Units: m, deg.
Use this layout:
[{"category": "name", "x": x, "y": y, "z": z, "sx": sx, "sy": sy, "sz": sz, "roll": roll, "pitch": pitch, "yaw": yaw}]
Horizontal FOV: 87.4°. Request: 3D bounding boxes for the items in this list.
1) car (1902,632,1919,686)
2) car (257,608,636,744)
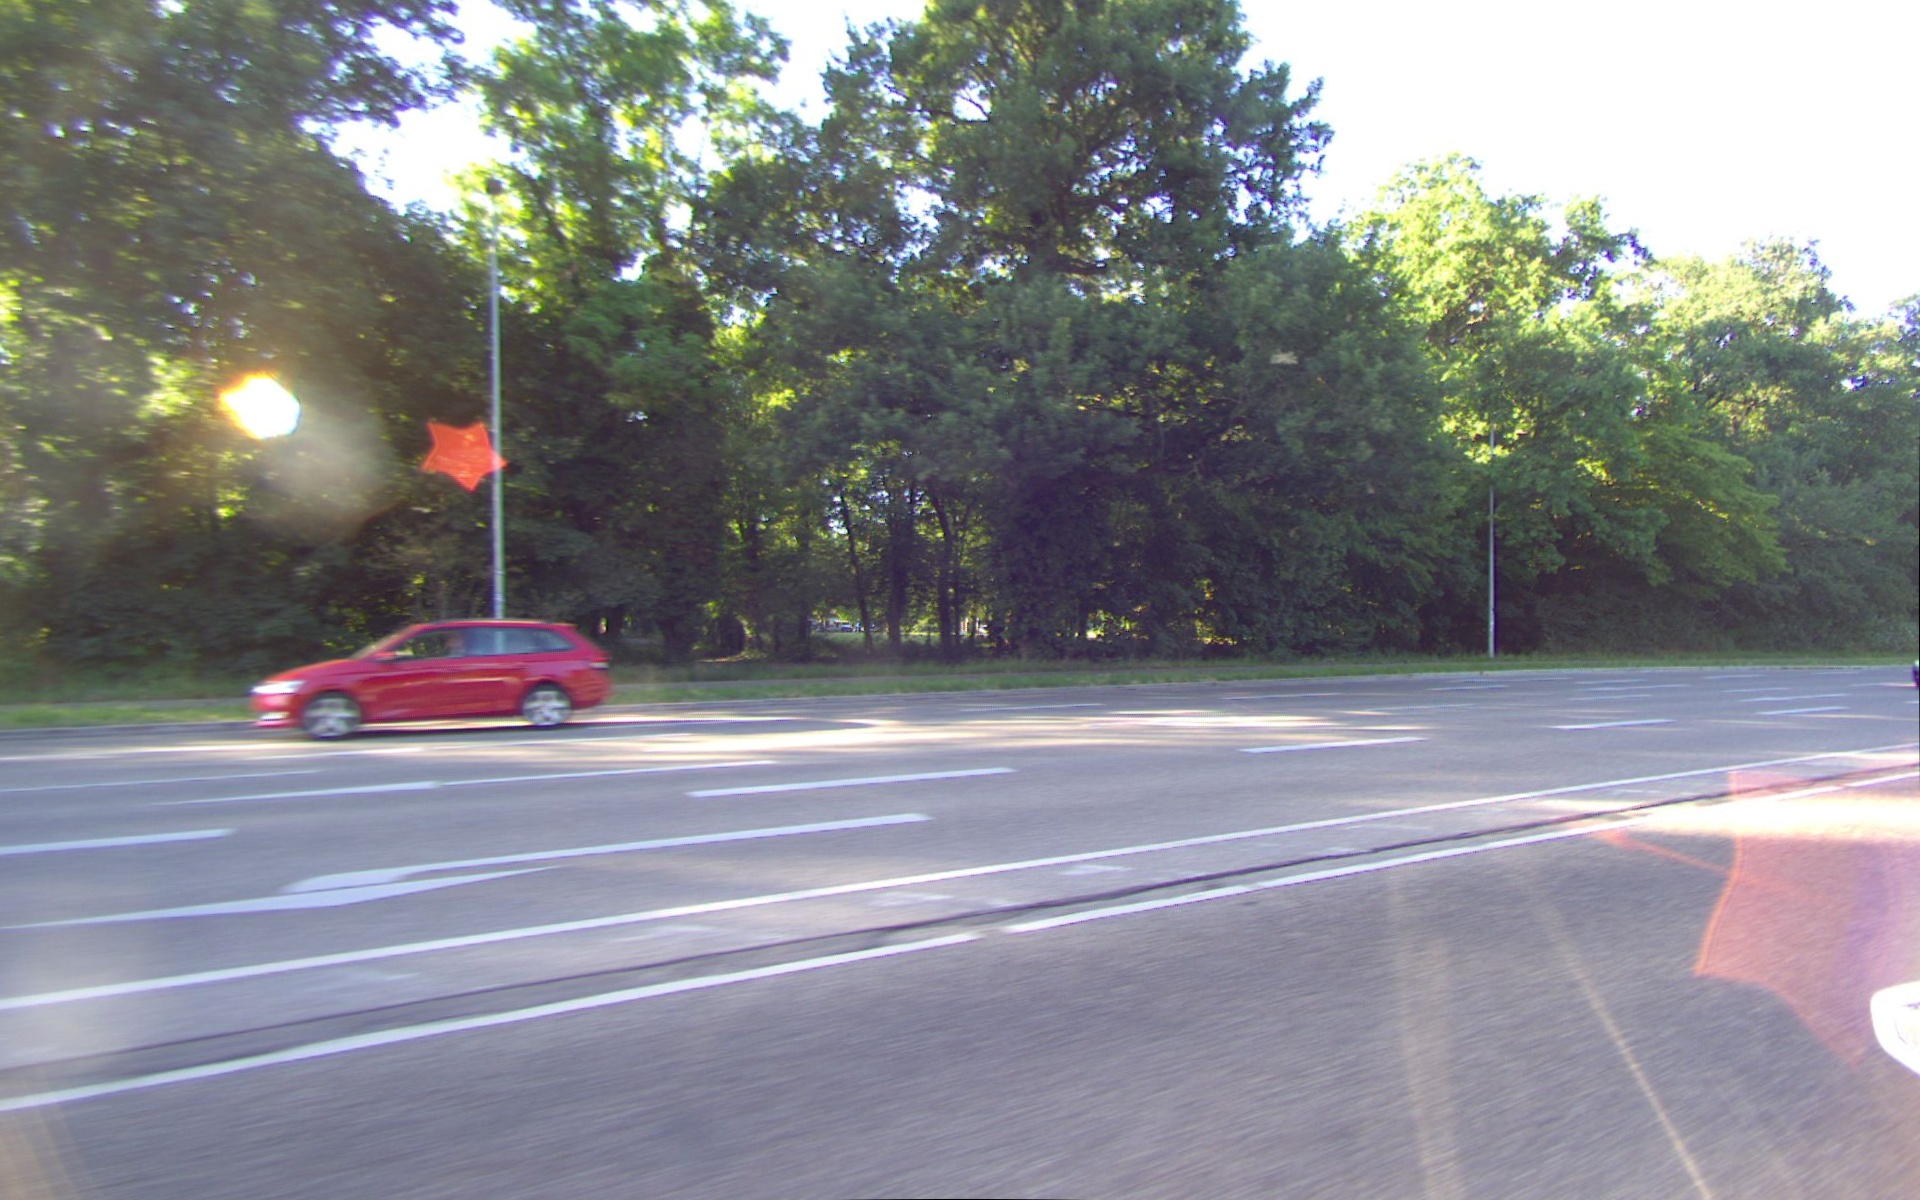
[{"category": "car", "x": 24.556, "y": 1.384, "z": 24.014, "sx": 4.618, "sy": 1.250, "sz": 1.736, "roll": 1, "pitch": -2, "yaw": -30}, {"category": "car", "x": -6.826, "y": 0.940, "z": 13.669, "sx": 4.287, "sy": 1.584, "sz": 1.984, "roll": 1, "pitch": -2, "yaw": -30}]
